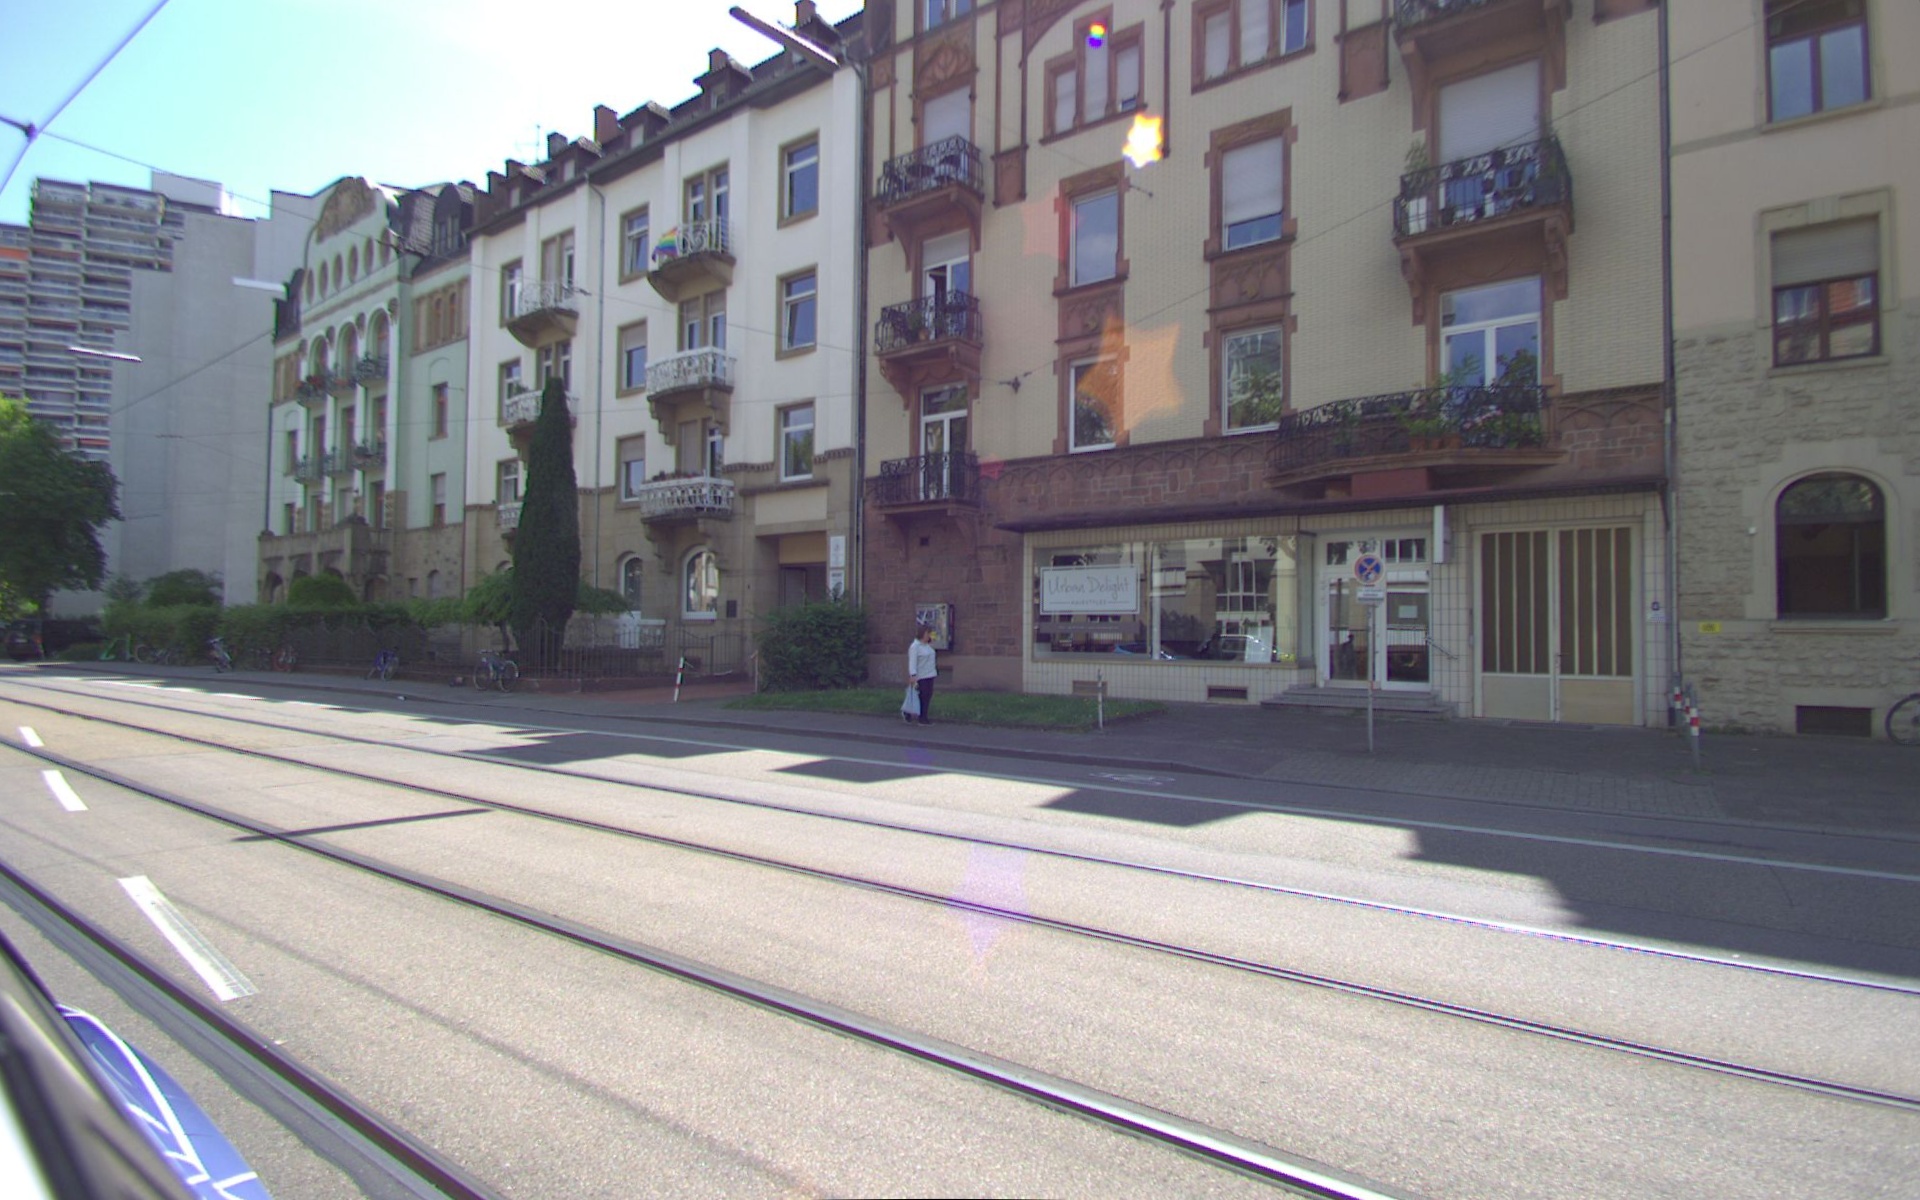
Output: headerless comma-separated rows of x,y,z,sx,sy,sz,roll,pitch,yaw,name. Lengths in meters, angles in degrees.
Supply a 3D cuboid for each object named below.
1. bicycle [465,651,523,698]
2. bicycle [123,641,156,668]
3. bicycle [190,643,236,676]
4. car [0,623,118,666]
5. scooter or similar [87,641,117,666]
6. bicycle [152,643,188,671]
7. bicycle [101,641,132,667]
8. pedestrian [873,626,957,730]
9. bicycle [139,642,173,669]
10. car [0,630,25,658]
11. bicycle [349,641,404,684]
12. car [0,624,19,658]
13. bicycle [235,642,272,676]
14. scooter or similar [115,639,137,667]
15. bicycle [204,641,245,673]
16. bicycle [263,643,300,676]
-10.784,1.701,23.413,1.838,0.968,0.406,0,1,38,bicycle
-32.455,2.144,40.002,1.705,0.997,0.602,-2,0,37,bicycle
-23.585,1.876,31.987,0.599,1.007,1.780,1,-3,-17,bicycle
-42.647,2.106,47.779,1.935,1.940,4.585,0,-3,0,car
-36.494,2.280,43.040,1.215,1.028,0.404,-1,-3,22,scooter or similar
-29.381,2.105,37.646,1.768,0.983,0.602,-2,0,37,bicycle
-35.121,2.239,42.127,1.705,0.997,0.602,-2,0,37,bicycle
-0.698,1.190,15.800,0.982,1.554,0.893,-1,-3,34,pedestrian
-30.834,2.116,38.818,1.705,0.997,0.602,-2,0,37,bicycle
-55.576,2.508,57.491,1.657,1.587,3.688,1,-3,-5,car
-15.651,1.664,27.136,1.768,1.073,0.602,-2,0,37,bicycle
-58.245,2.425,59.835,1.578,2.058,4.055,1,-3,-3,car
-22.466,1.858,32.174,1.705,1.007,0.460,-2,0,38,bicycle
-33.776,2.132,40.978,1.289,1.129,0.402,-2,-3,39,scooter or similar
-24.935,1.926,34.312,1.768,1.040,0.602,-2,0,37,bicycle
-20.907,1.822,31.186,1.723,0.973,0.409,-2,0,38,bicycle
